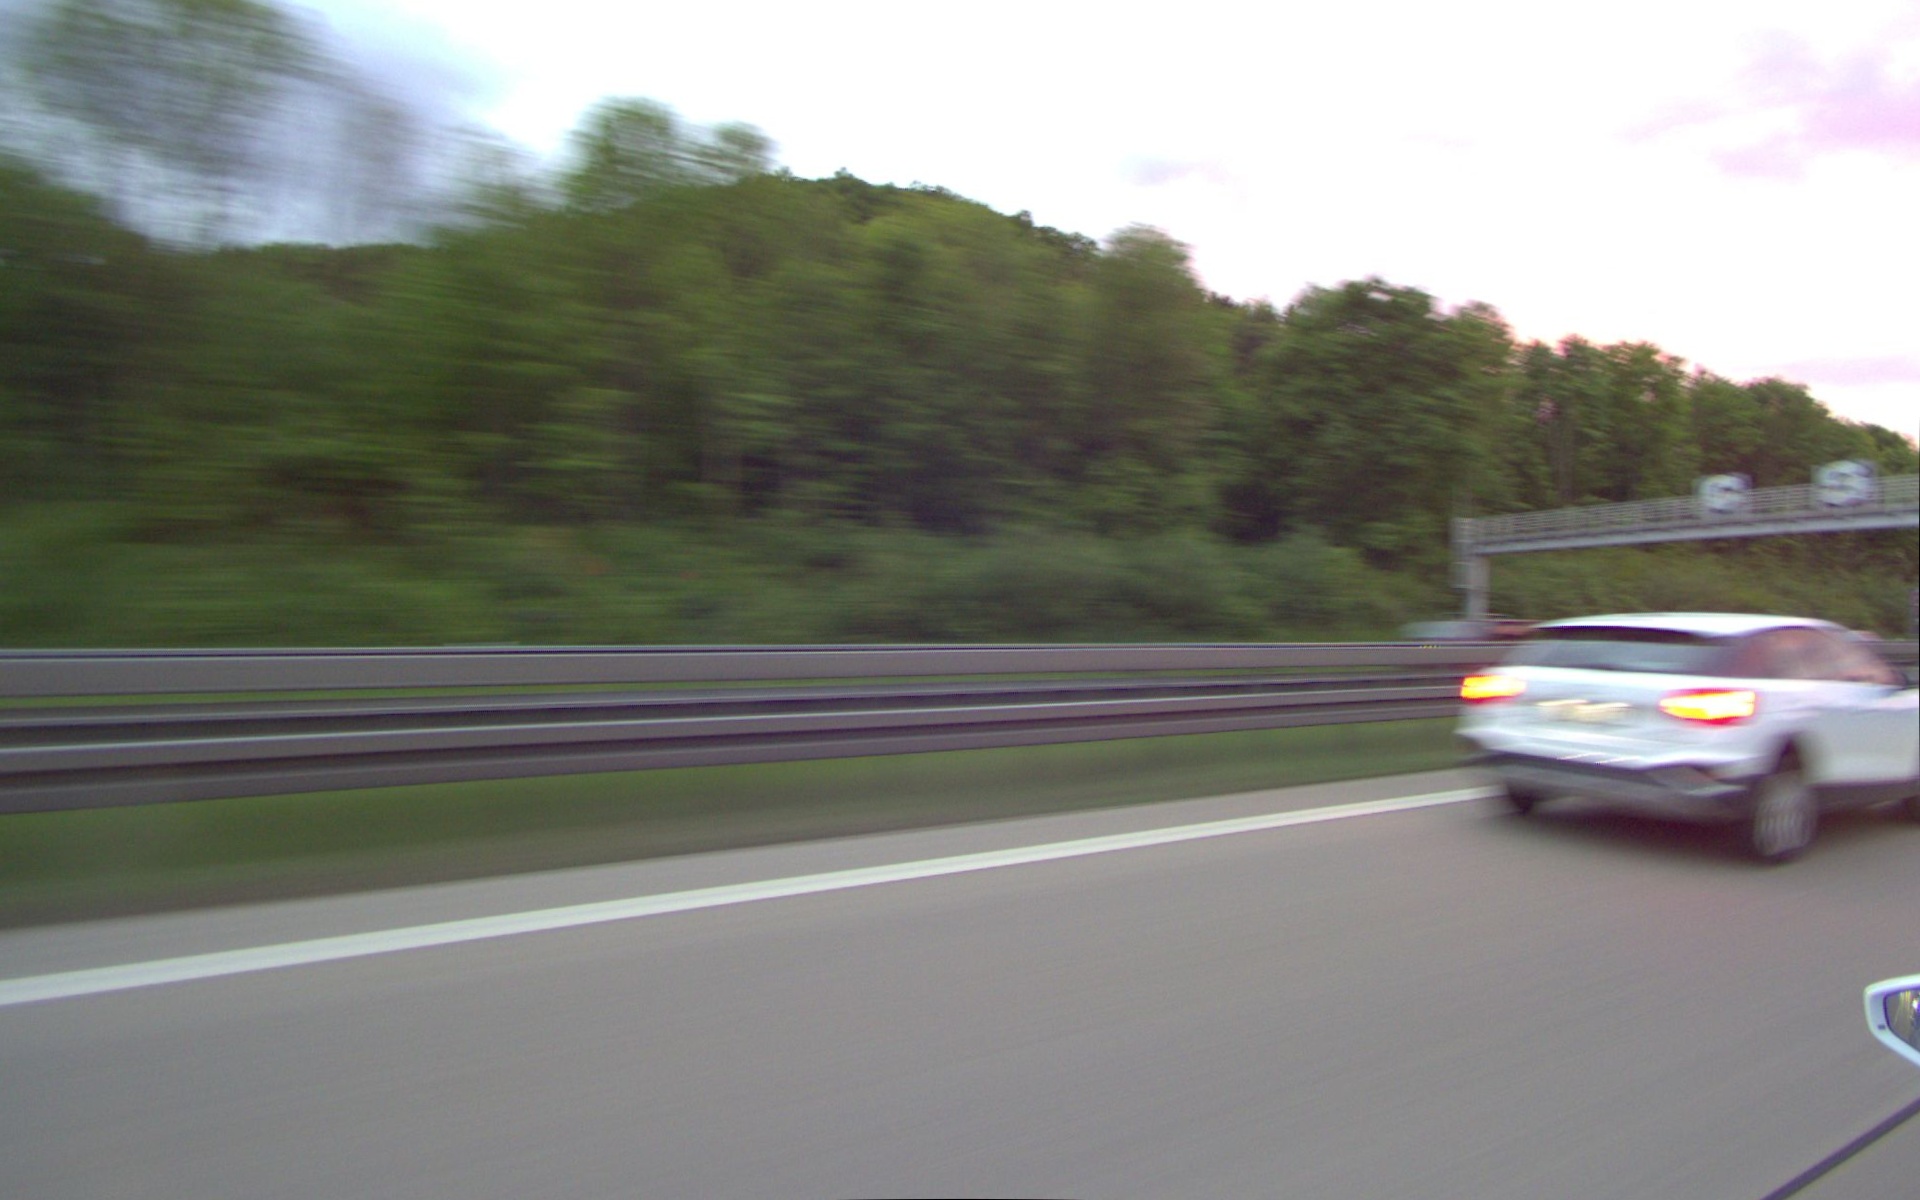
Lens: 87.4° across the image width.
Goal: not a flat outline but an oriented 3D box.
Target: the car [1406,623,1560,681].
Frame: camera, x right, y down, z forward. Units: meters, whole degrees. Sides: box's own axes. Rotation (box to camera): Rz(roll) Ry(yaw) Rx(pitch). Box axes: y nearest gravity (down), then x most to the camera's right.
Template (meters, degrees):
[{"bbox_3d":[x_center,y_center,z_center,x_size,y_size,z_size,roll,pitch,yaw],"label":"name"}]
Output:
[{"bbox_3d":[17.336,1.682,33.194,5.595,1.757,1.839,2,-1,-31],"label":"car"}]

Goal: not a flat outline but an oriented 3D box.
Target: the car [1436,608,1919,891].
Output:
[{"bbox_3d":[5.923,0.870,7.538,4.979,1.521,1.780,1,0,-31],"label":"car"}]
